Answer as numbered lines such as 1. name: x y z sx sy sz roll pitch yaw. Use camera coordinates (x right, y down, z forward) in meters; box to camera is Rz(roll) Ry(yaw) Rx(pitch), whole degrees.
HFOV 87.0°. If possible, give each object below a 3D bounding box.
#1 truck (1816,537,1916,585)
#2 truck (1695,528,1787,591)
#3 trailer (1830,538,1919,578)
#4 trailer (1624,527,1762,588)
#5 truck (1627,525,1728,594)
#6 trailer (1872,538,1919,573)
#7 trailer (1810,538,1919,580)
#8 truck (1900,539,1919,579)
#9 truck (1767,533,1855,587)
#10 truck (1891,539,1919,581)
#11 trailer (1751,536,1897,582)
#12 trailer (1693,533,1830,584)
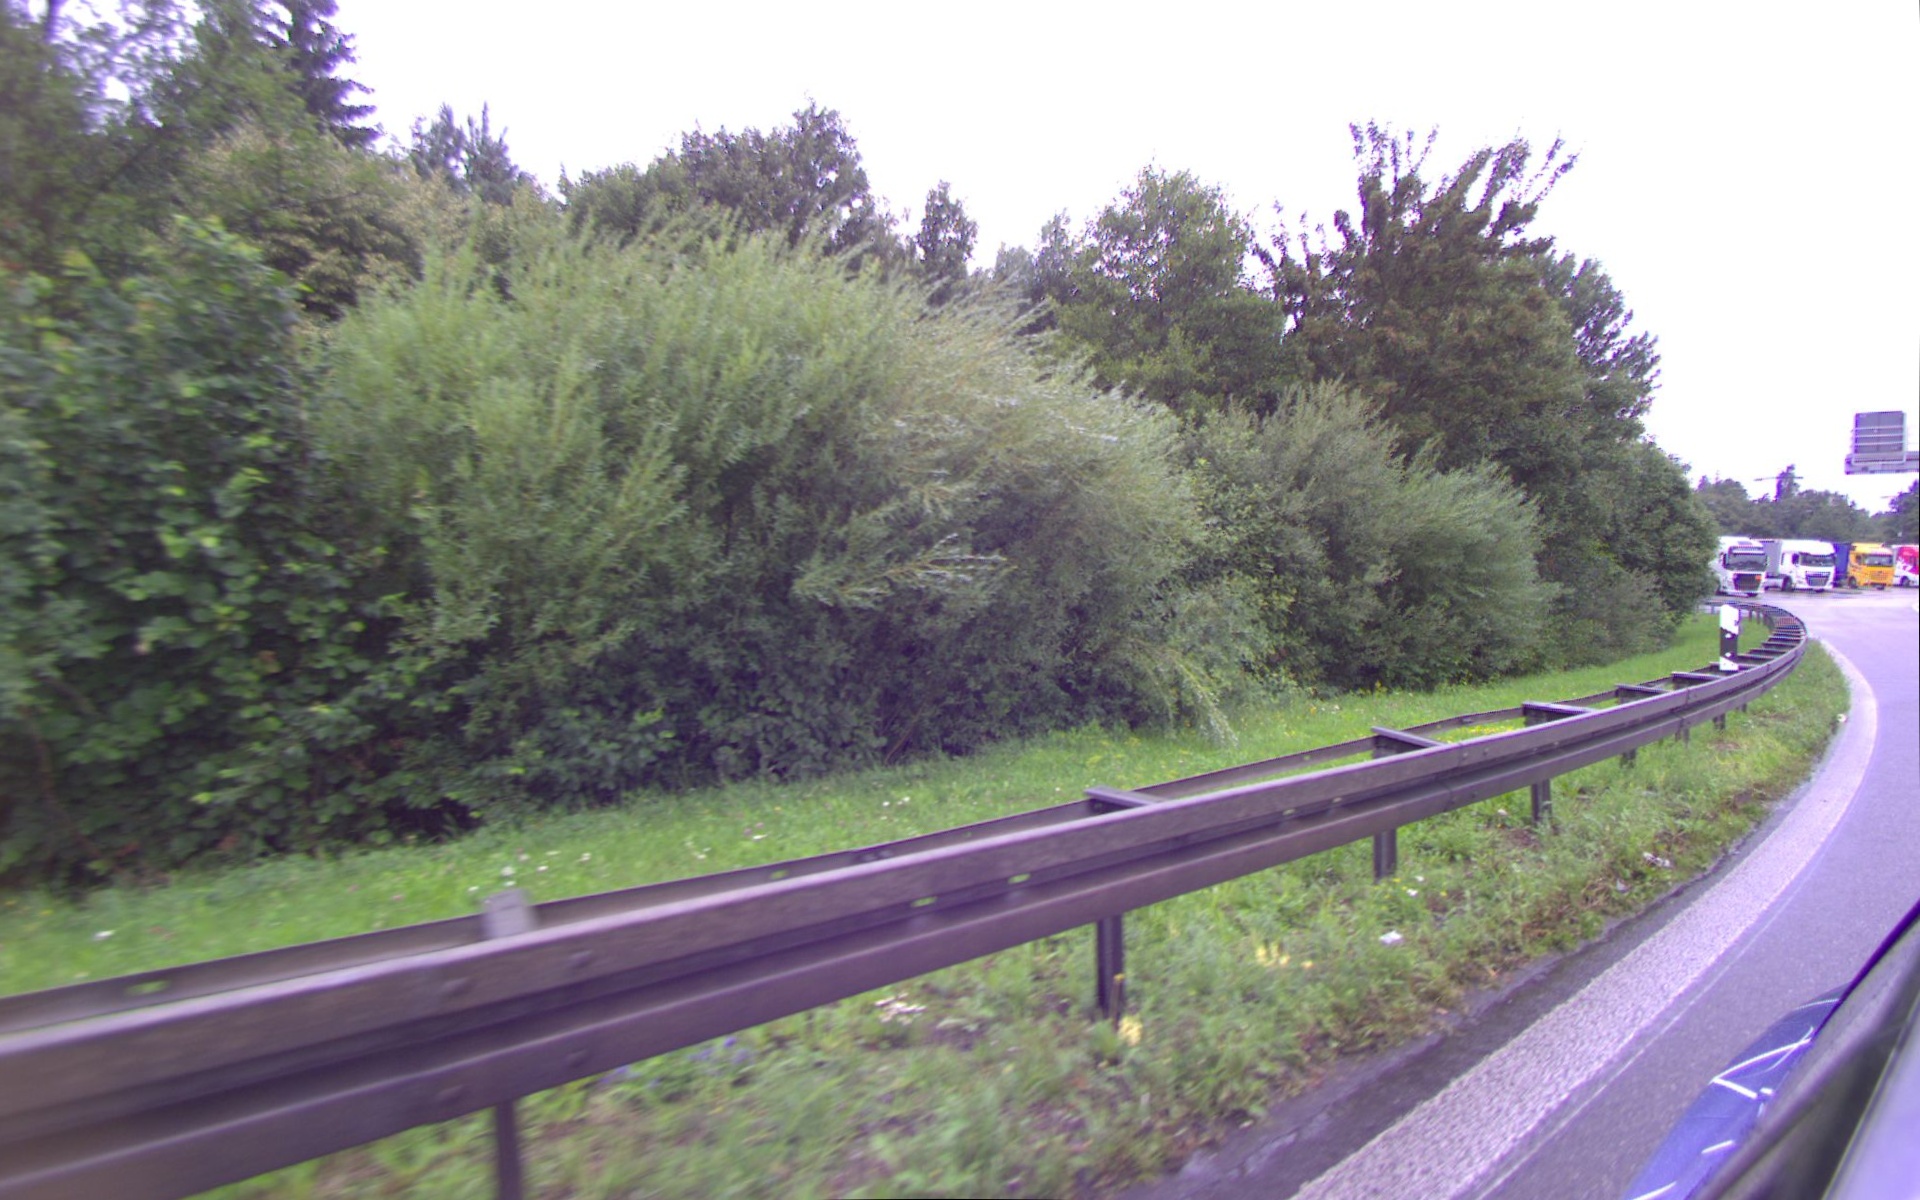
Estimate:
1. truck: 80.774 -3.595 90.432 2.797 3.966 8.106 2 4 12
2. truck: 54.211 -2.903 70.388 2.783 4.195 5.289 1 4 11
3. trailer: 97.730 -4.462 105.963 2.828 3.965 13.913 2 4 8
4. trailer: 55.612 -3.389 77.475 2.782 4.220 13.958 1 4 11
5. truck: 46.213 -2.694 65.417 2.781 4.199 5.985 1 4 10
6. trailer: 115.904 -5.263 120.806 3.192 4.140 13.511 2 4 8
7. trailer: 93.871 -4.288 103.391 3.192 3.965 14.807 2 4 8
8. truck: 96.798 -4.002 99.624 2.851 3.966 6.545 2 4 8
9. truck: 66.515 -3.187 79.283 2.786 3.959 5.398 2 3 10
10. truck: 92.897 -3.828 96.735 3.192 3.966 5.013 2 4 9
11. trailer: 82.146 -4.110 96.939 2.825 3.965 16.587 2 4 12
12. trailer: 67.799 -3.686 86.207 2.799 3.965 13.920 2 4 11
